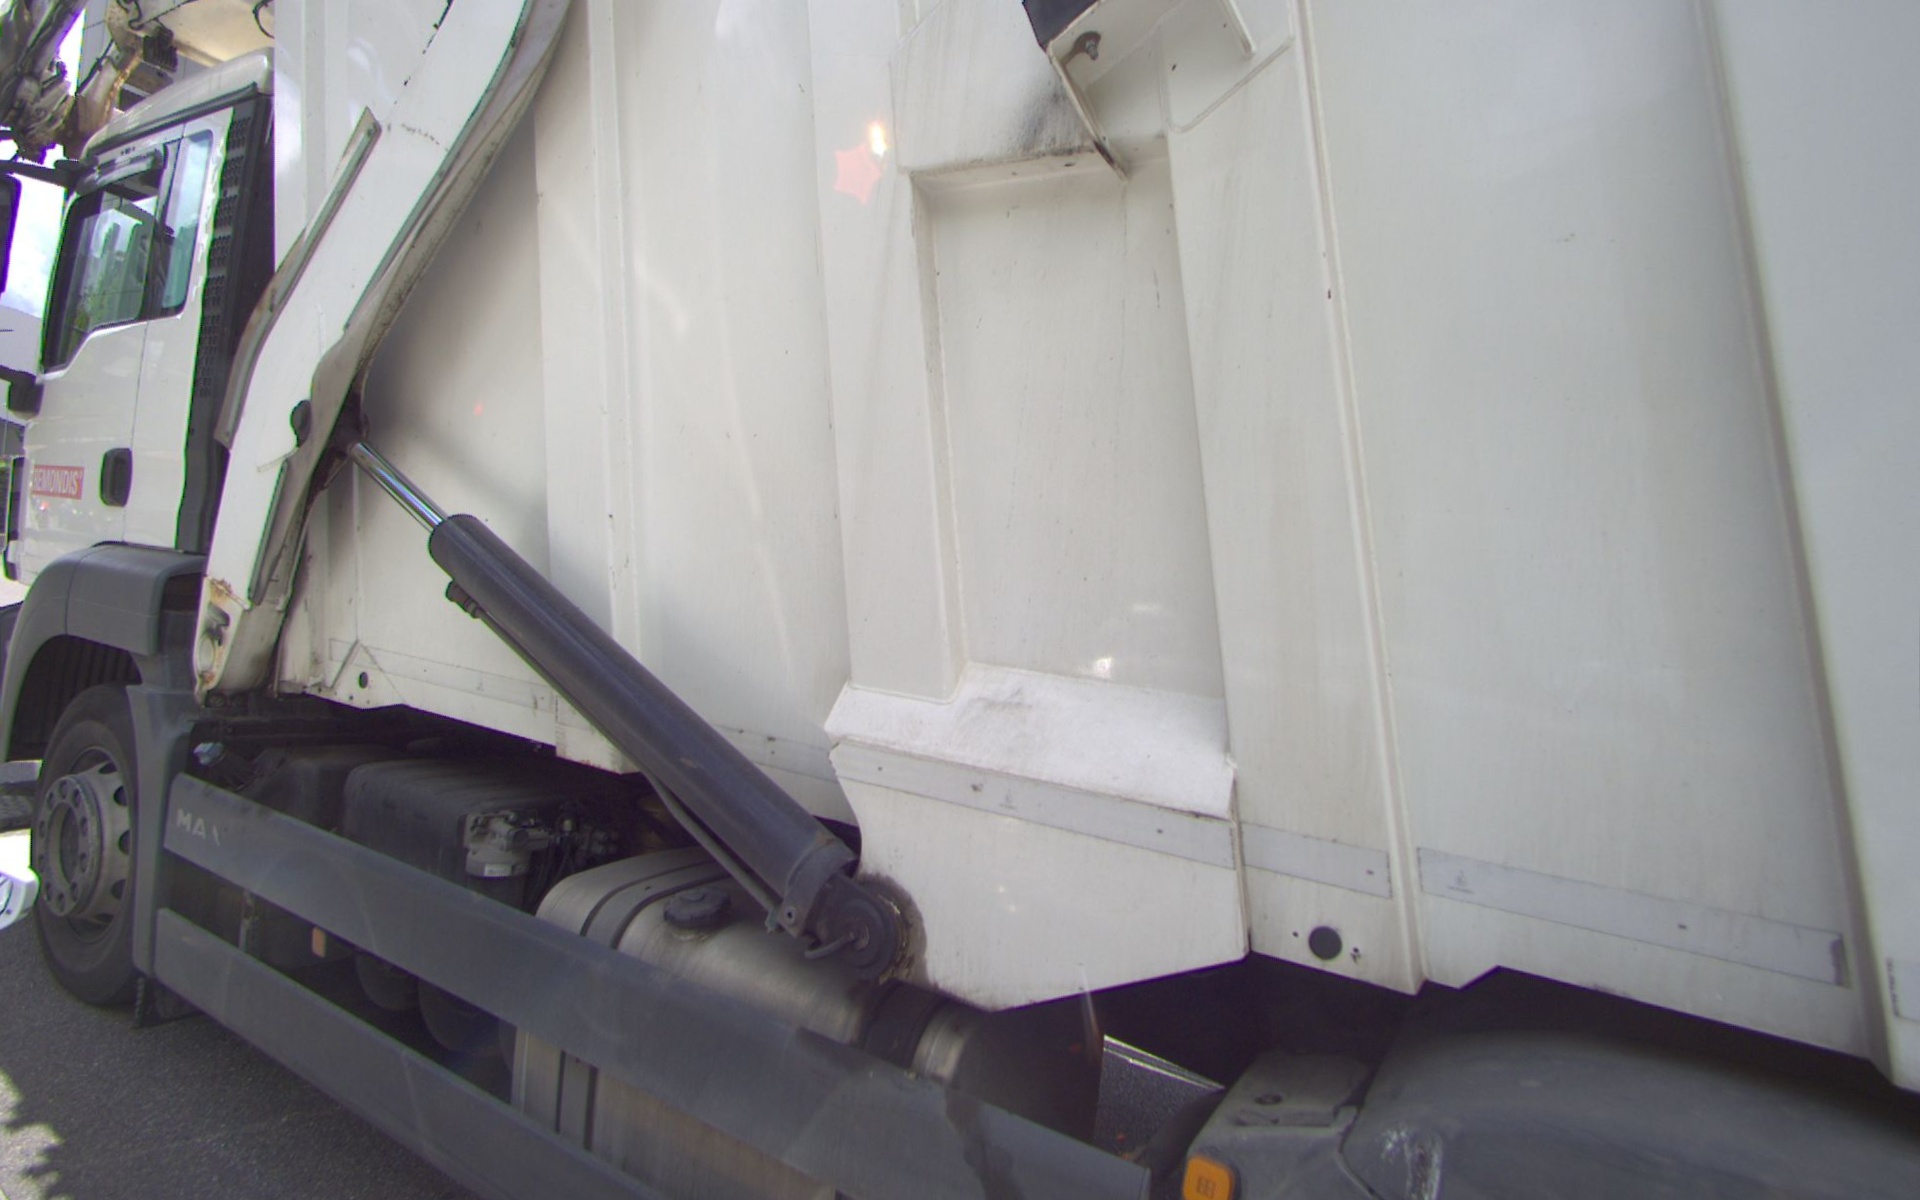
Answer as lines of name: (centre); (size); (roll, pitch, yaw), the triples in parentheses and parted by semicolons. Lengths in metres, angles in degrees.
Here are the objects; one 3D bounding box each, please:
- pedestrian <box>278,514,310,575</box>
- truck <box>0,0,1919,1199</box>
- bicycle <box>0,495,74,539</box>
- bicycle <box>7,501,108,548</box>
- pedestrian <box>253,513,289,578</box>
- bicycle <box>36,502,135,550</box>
pedestrian: (-20.605, -1.720, 31.134); (0.705, 1.818, 0.687); (4, 3, -36)
truck: (1.094, -0.276, 2.175); (10.003, 3.958, 2.494); (6, -1, 31)
bicycle: (-29.292, -2.636, 31.487); (2.197, 1.099, 0.474); (8, -1, -23)
bicycle: (-27.957, -2.330, 31.202); (2.197, 1.099, 0.474); (8, -1, -23)
pedestrian: (-20.538, -1.625, 29.995); (0.707, 1.818, 0.635); (4, 4, -43)
bicycle: (-26.993, -2.280, 31.080); (2.166, 1.099, 0.474); (8, -1, -23)
